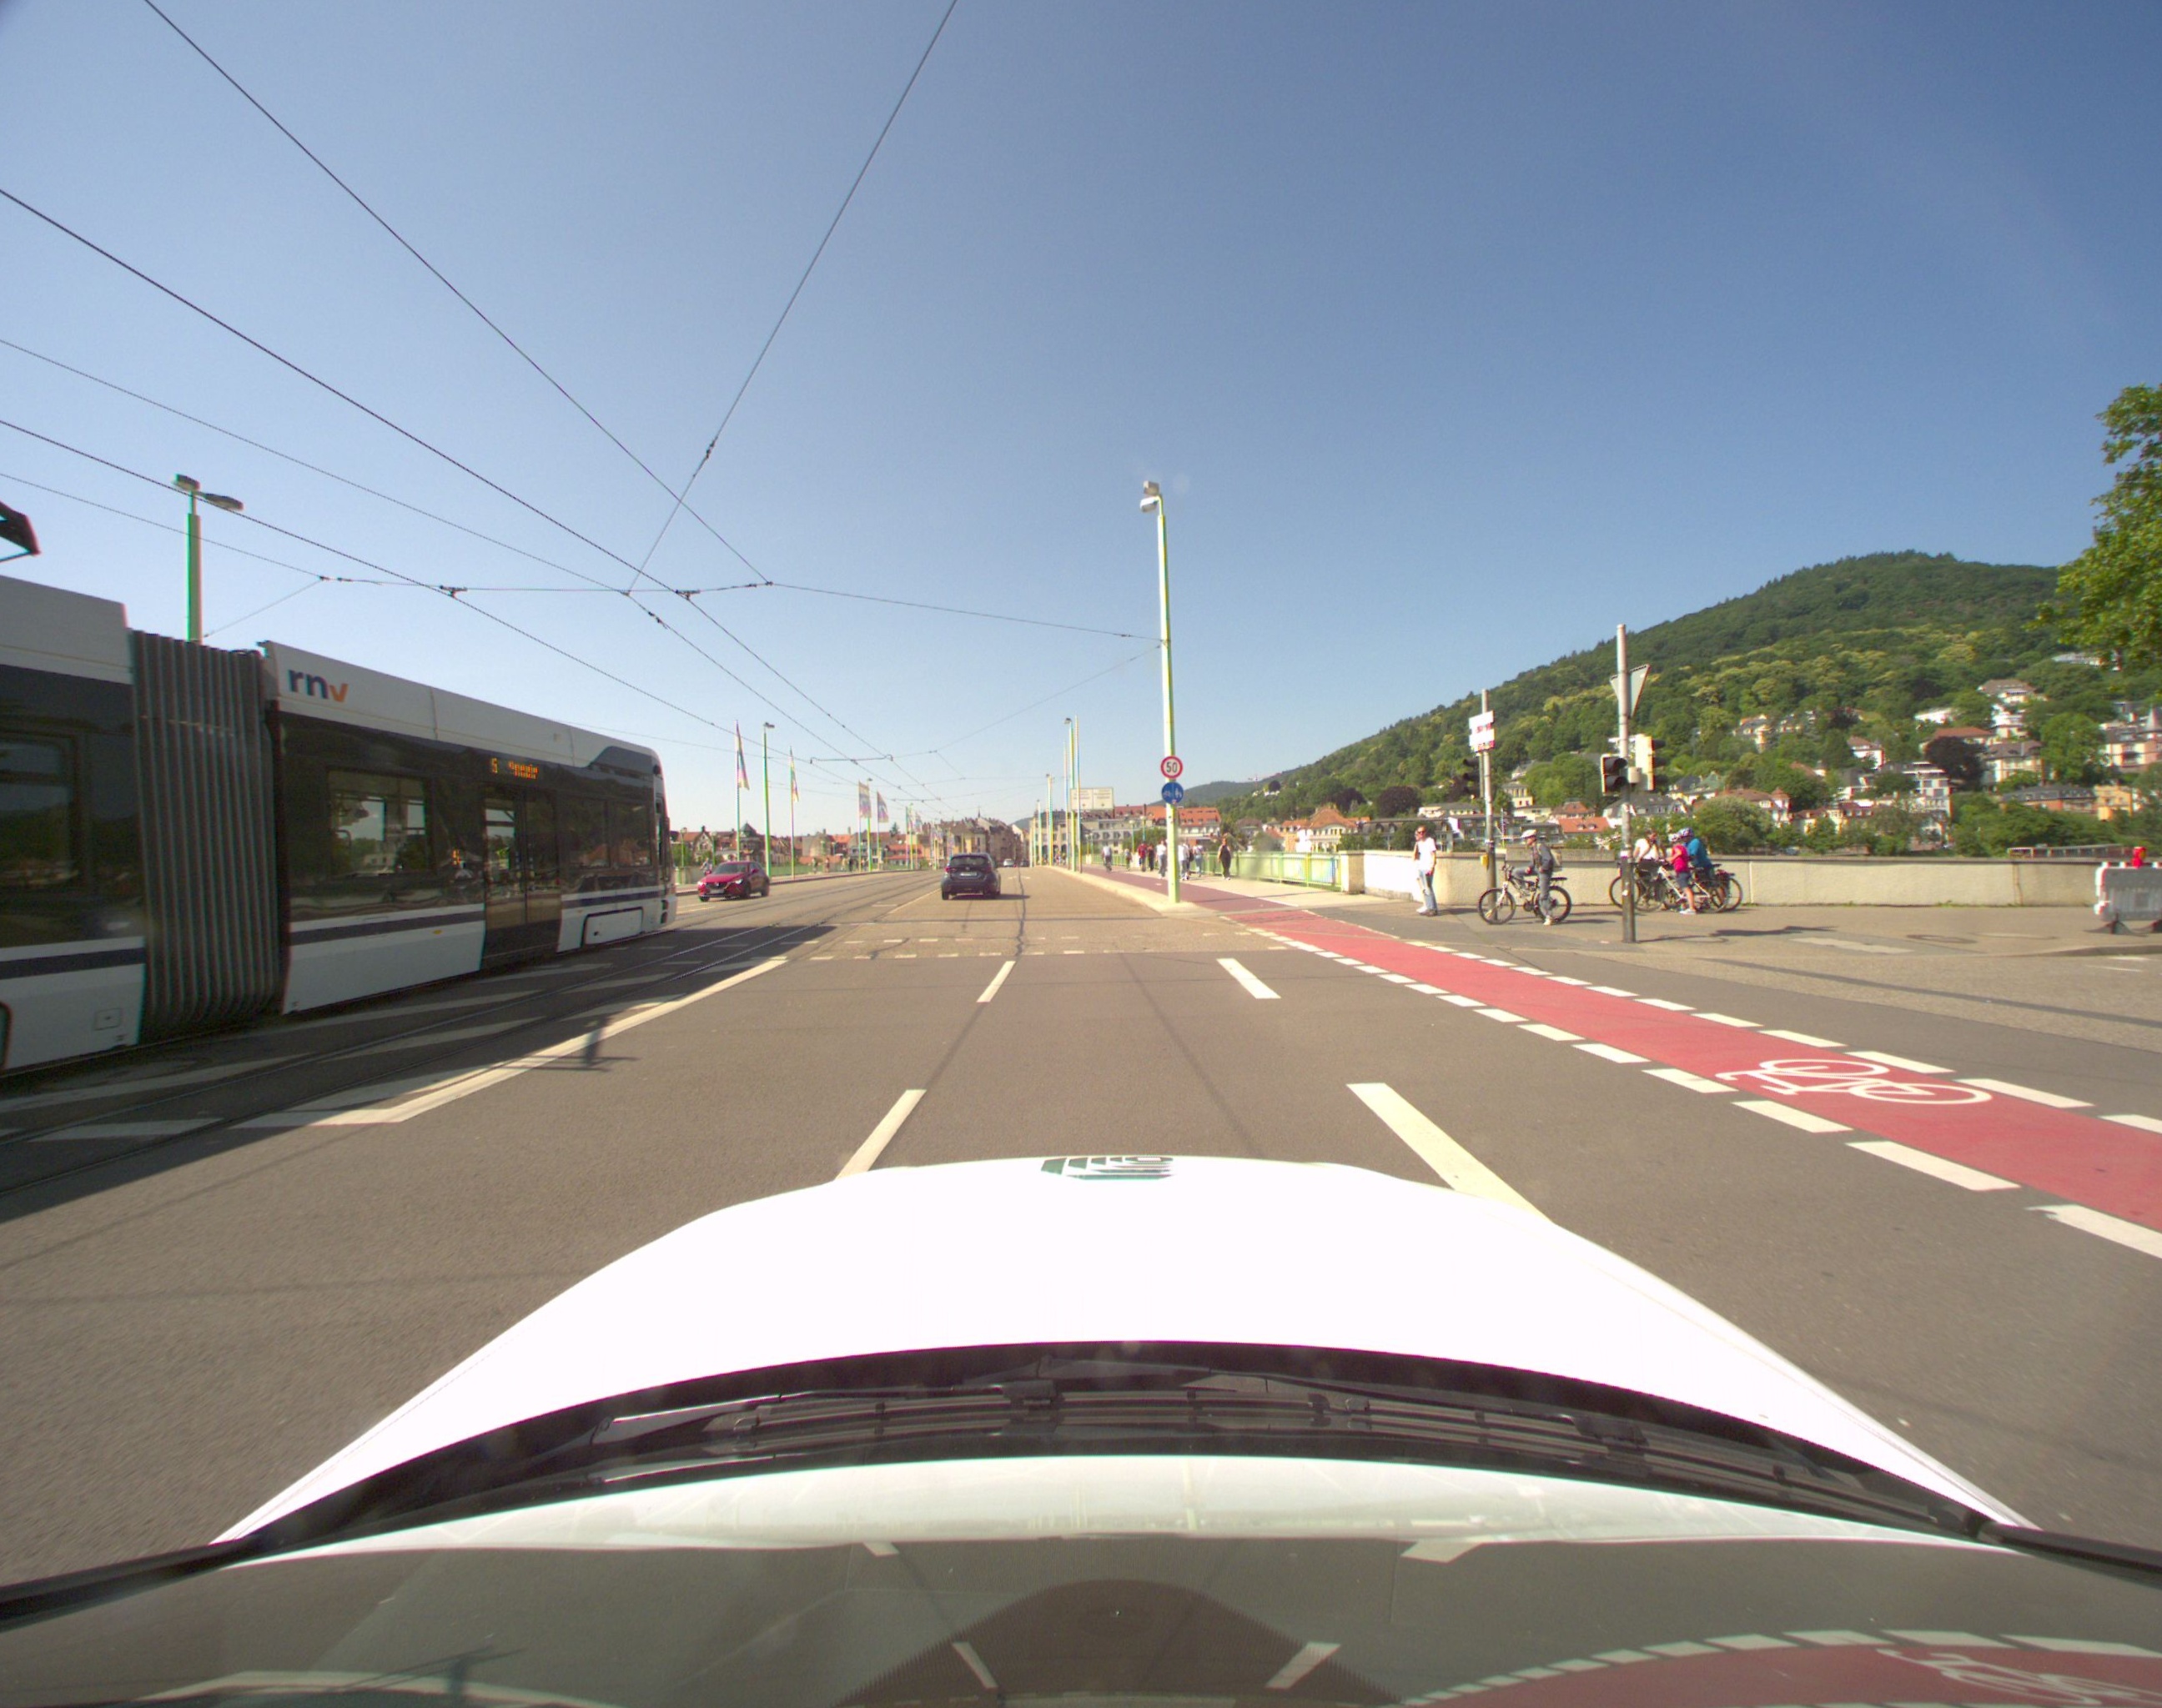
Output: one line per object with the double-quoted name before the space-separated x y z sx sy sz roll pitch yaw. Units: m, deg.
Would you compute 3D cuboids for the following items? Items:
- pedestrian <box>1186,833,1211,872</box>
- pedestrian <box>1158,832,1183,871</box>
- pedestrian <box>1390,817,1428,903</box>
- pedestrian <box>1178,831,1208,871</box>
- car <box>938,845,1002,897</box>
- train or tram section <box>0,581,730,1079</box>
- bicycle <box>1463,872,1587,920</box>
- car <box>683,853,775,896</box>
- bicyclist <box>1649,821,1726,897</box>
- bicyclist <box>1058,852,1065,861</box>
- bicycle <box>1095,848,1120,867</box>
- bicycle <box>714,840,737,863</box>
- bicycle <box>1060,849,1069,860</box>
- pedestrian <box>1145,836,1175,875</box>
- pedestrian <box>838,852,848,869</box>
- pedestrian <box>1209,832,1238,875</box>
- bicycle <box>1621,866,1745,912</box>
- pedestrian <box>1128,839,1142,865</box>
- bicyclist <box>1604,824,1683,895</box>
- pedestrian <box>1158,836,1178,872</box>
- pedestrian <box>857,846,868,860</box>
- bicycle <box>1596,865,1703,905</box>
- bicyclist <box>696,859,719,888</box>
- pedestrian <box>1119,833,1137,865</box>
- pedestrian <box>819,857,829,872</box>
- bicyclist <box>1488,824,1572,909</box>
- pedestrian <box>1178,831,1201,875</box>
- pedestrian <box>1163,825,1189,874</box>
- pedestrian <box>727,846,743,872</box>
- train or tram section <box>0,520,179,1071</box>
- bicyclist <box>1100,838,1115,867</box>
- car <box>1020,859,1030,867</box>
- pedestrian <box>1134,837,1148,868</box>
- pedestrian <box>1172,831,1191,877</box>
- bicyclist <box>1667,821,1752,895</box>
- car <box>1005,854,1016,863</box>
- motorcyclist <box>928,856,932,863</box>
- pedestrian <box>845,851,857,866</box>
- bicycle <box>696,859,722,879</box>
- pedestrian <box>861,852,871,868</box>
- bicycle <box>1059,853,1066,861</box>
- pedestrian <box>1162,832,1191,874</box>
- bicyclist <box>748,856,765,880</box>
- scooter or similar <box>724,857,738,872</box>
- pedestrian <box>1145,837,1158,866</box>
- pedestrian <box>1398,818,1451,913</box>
"pedestrian" 5.137 -0.055 35.641 0.834 1.677 0.882 -2 -1 -11
"pedestrian" 4.528 -0.130 41.224 1.014 1.954 0.937 -2 -1 -7
"pedestrian" 6.848 0.129 17.037 0.532 1.760 0.576 -1 0 -2
"pedestrian" 5.177 -0.158 37.631 0.985 1.769 1.250 -3 0 -11
"car" -3.646 0.510 26.931 1.908 1.540 3.990 -1 0 -7
"train or tram section" -8.709 -0.251 12.100 2.465 3.777 11.834 -2 1 -4
"bicycle" 7.986 0.748 14.685 1.933 0.827 0.565 0 0 -1
"car" -13.873 0.777 32.377 1.990 1.515 4.184 -2 0 -4
"bicyclist" 12.039 0.094 16.195 1.070 1.474 0.766 0 0 21
"bicyclist" -2.472 0.324 104.278 0.734 1.030 1.172 -2 0 -7
"bicycle" 1.604 0.198 49.849 0.792 1.096 3.733 -2 0 -9
"bicycle" -22.800 -0.167 52.242 0.704 1.400 2.157 2 0 -7
"bicycle" -1.976 0.094 97.431 0.695 1.193 2.073 -2 -1 -9
"pedestrian" 3.374 0.077 34.852 0.985 1.615 0.918 -2 -1 -11
"pedestrian" -27.680 0.743 94.605 0.969 2.013 1.097 -2 0 -10
"pedestrian" 5.570 -0.021 31.829 0.799 1.635 0.946 -2 0 -11
"bicycle" 11.981 0.683 16.261 1.923 0.853 0.568 0 1 18
"pedestrian" 3.390 -0.114 50.811 0.650 1.562 0.689 -3 0 -11
"bicyclist" 12.036 0.103 17.457 1.076 1.474 0.928 0 0 1
"pedestrian" 4.042 -0.001 37.721 0.654 1.650 0.865 -2 -1 -11
"pedestrian" -28.814 -0.125 107.486 1.094 1.729 1.294 0 0 -2
"bicycle" 12.193 0.653 17.480 1.933 0.827 0.565 0 0 -1
"bicyclist" -22.138 1.134 48.277 0.875 1.608 0.771 -3 1 -3
"pedestrian" 2.990 -0.299 51.816 0.874 2.014 1.055 -2 -1 -11
"pedestrian" -28.493 1.153 90.275 0.753 1.722 1.172 -1 -1 -7
"bicyclist" 8.085 0.211 14.689 1.076 1.474 0.800 0 0 -1
"pedestrian" 4.417 -0.037 33.149 0.696 1.716 0.729 -2 -1 -11
"pedestrian" 4.027 -0.194 34.664 0.803 2.014 0.951 -2 -1 -11
"pedestrian" -25.172 0.367 59.267 0.738 1.853 0.973 2 0 -7
"train or tram section" -8.882 -0.282 1.680 2.391 3.681 9.639 -2 1 7
"bicyclist" 1.604 -0.076 49.799 0.673 1.744 1.147 -2 0 -9
"car" -11.399 1.848 165.408 1.800 1.469 3.996 -3 0 -3
"pedestrian" 3.467 -0.089 47.001 0.585 1.793 0.630 -2 -1 -10
"pedestrian" 4.011 0.005 32.522 0.549 1.799 0.643 -2 -1 -11
"bicyclist" 12.961 0.073 16.829 1.075 1.474 0.929 0 0 3
"car" -12.795 0.878 147.998 1.803 1.469 3.989 -3 0 -8
"motorcyclist" -32.367 1.208 174.729 0.799 1.549 1.067 -2 0 -6
"pedestrian" -26.465 0.532 93.734 1.096 1.758 1.292 0 1 -8
"bicycle" -22.135 0.864 48.501 0.757 1.113 1.918 0 2 -3
"pedestrian" -27.901 0.733 105.706 1.096 2.013 1.292 -2 0 -8
"bicycle" -2.391 0.410 104.333 0.617 1.037 2.046 -2 0 -7
"pedestrian" 4.171 -0.043 35.664 0.985 1.750 0.926 -2 -1 -11
"bicyclist" -22.414 0.990 56.287 0.876 1.609 0.770 -2 -1 -6
"scooter or similar" -25.075 0.774 58.361 0.738 1.029 0.830 2 0 -8
"pedestrian" 4.073 -0.127 47.052 0.523 1.649 0.697 -2 -1 -11
"pedestrian" 6.936 0.220 16.453 0.772 1.855 0.644 -1 0 -2
